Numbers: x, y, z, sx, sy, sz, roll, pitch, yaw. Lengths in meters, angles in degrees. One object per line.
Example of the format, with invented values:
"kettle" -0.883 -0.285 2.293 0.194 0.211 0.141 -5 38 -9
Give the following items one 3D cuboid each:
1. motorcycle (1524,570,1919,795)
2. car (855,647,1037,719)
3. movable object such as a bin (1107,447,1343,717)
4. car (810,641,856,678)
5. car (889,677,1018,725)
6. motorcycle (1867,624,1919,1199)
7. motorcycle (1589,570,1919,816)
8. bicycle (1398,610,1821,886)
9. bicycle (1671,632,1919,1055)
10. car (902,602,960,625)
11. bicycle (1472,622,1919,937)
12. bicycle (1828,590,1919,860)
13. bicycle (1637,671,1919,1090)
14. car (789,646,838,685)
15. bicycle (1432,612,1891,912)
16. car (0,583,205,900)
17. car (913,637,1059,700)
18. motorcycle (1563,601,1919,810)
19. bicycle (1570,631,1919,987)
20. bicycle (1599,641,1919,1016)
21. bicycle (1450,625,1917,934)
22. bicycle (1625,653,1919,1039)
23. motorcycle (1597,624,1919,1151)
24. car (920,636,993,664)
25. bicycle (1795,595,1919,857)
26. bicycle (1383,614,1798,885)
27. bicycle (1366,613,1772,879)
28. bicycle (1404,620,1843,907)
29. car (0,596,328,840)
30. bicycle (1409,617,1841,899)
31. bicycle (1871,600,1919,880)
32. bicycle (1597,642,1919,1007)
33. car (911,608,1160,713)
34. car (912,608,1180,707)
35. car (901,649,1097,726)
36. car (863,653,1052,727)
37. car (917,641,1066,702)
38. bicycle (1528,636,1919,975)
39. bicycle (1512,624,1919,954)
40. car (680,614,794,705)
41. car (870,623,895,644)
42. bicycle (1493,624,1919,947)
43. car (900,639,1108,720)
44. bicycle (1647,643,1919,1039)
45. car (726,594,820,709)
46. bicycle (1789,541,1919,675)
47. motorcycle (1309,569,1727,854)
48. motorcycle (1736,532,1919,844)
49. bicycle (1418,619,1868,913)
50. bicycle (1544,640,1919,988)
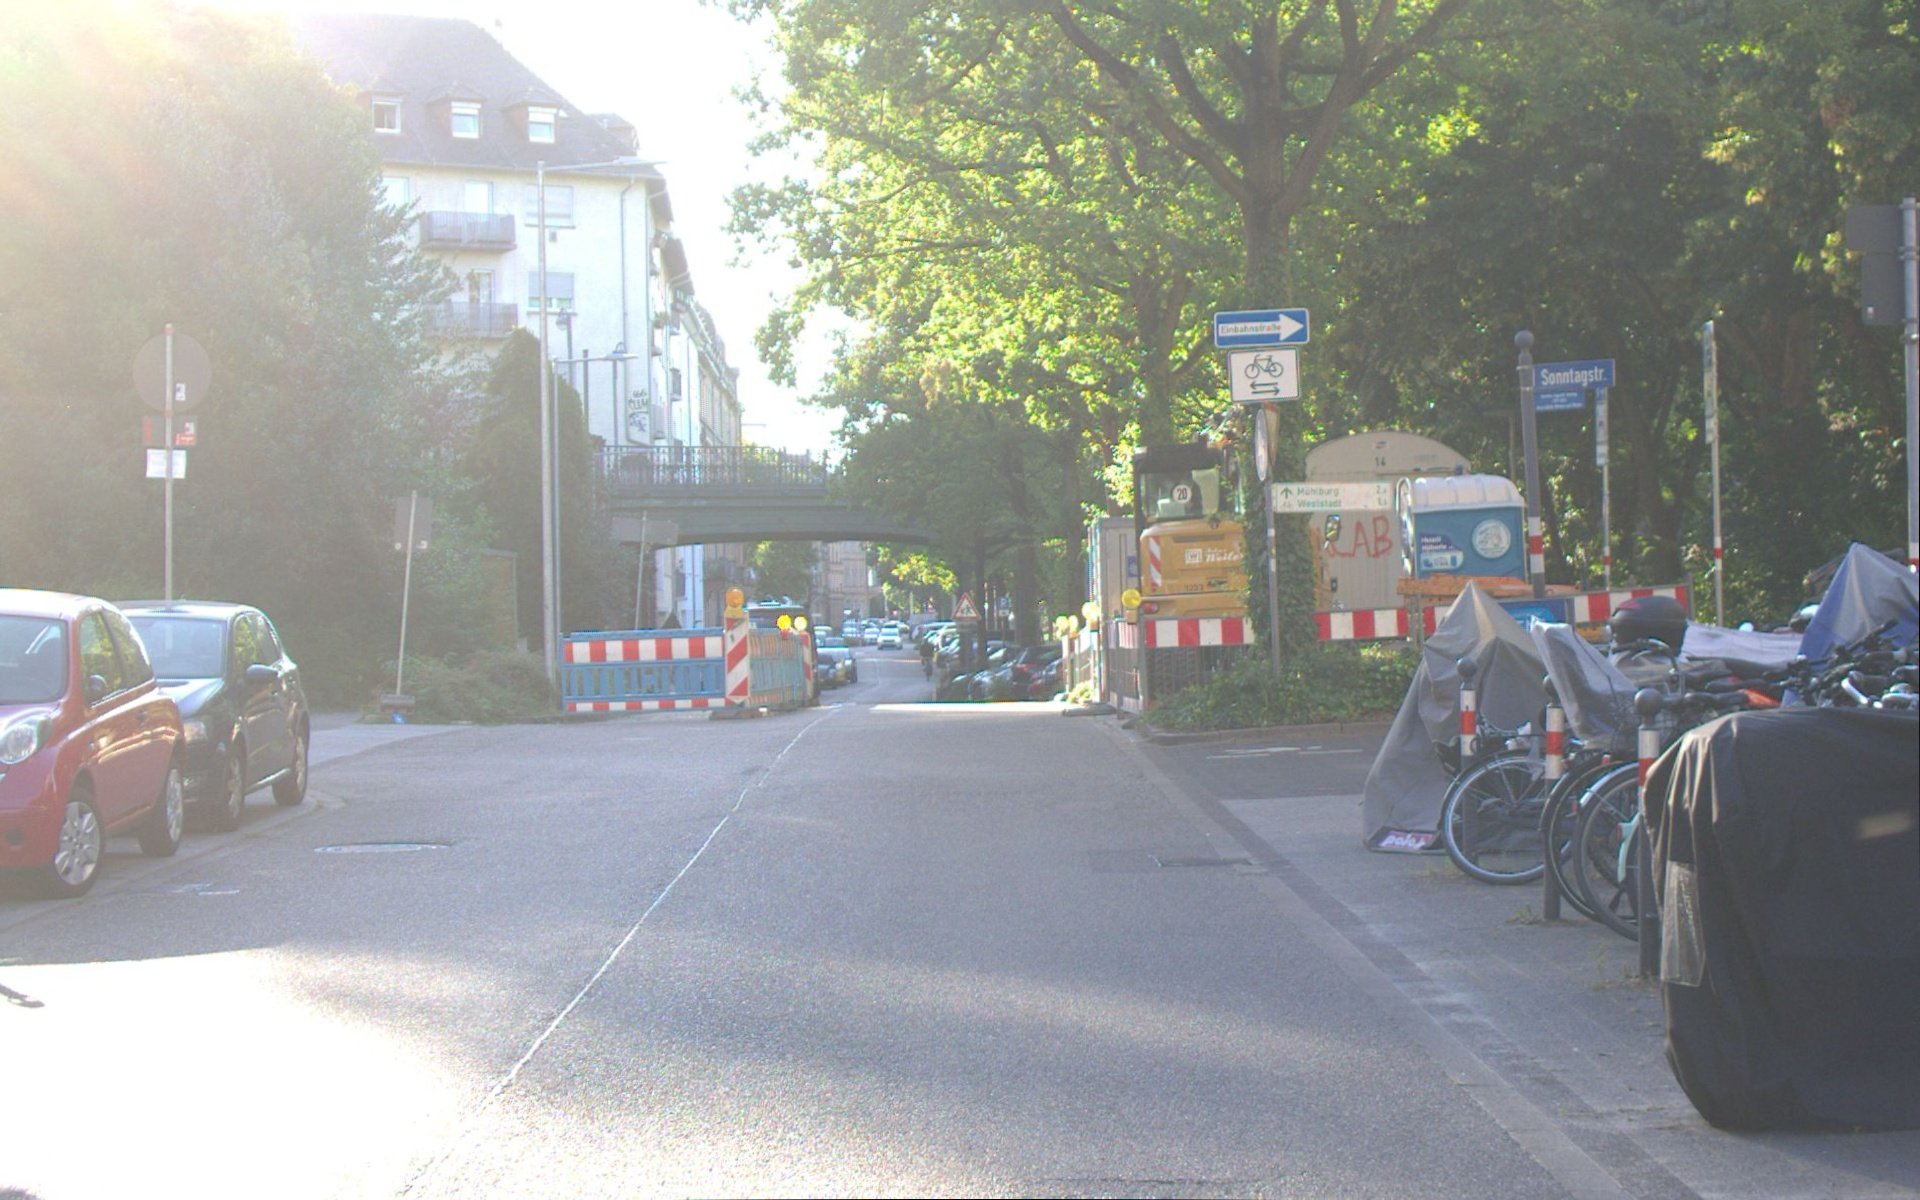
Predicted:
"motorcycle" 4.824 0.498 21.483 2.364 1.337 0.941 -1 0 -10
"car" -0.360 2.047 84.217 4.387 1.696 1.917 0 -3 -3
"movable object such as a bin" 2.828 -0.176 36.138 1.995 2.690 3.108 -1 0 13
"car" -5.358 2.518 145.423 1.812 1.393 3.975 -2 -2 -1
"car" -0.248 3.509 118.898 4.387 1.604 1.781 0 -3 -3
"motorcycle" 3.038 0.700 7.340 2.014 1.323 0.621 -1 1 -4
"motorcycle" 4.692 0.514 19.229 2.284 1.337 0.656 -1 0 12
"bicycle" 3.036 0.683 16.081 1.924 1.242 0.303 -1 0 -6
"bicycle" 3.257 0.723 10.702 1.924 1.242 0.648 -1 0 -6
"car" -2.192 1.016 258.898 4.387 1.604 1.780 0 -3 0
"bicycle" 3.095 0.726 14.159 1.924 1.242 0.303 -1 0 -6
"bicycle" 5.125 0.566 16.236 1.924 1.242 0.479 -1 0 -6
"bicycle" 2.937 0.768 9.936 1.817 1.124 0.443 -3 1 -1
"car" -5.739 2.587 135.047 1.812 1.393 3.975 -2 -2 -1
"bicycle" 3.019 0.688 14.812 1.924 1.242 0.303 -1 0 -6
"car" -5.268 0.680 18.529 1.669 1.525 4.000 -1 0 -3
"car" 0.782 2.125 105.970 4.387 1.855 1.917 0 -3 -3
"motorcycle" 4.716 0.608 20.115 2.284 1.176 0.970 -1 0 13
"bicycle" 3.206 0.742 12.489 1.924 1.242 0.303 -1 0 -6
"bicycle" 3.190 0.766 11.839 1.924 1.242 0.303 -1 0 -6
"bicycle" 3.042 0.745 14.474 1.905 1.242 0.303 -1 0 -6
"bicycle" 3.217 0.803 11.510 1.924 1.242 0.303 -1 0 -6
"motorcycle" 2.850 0.705 9.248 2.023 1.280 0.904 -3 1 -2
"car" -0.213 3.038 206.955 4.387 1.604 1.780 0 -3 0
"bicycle" 5.088 0.592 16.745 1.924 1.242 0.452 -1 0 -6
"bicycle" 3.005 0.703 16.401 1.924 1.242 0.303 -1 0 -6
"bicycle" 2.961 0.701 16.739 1.924 1.242 0.303 -1 0 -6
"bicycle" 2.988 0.728 15.499 1.924 1.242 0.303 -1 0 -6
"car" -5.415 0.718 22.982 1.669 1.453 4.000 -1 0 -1
"bicycle" 3.043 0.713 15.743 1.924 1.242 0.303 -1 0 -6
"bicycle" 5.185 0.614 15.690 1.924 1.242 0.479 -1 0 -6
"bicycle" 3.243 0.775 12.154 1.924 1.242 0.303 -1 0 -6
"car" 1.458 1.210 67.659 4.741 1.990 1.917 0 -3 -4
"car" 1.426 0.999 58.397 4.386 1.601 1.917 0 -3 -4
"car" 0.866 2.008 78.729 4.387 1.696 1.917 0 -3 -3
"car" -0.091 2.149 81.436 4.387 1.696 1.917 0 -3 -3
"car" 0.931 2.166 103.814 4.387 1.779 1.917 0 -3 -3
"bicycle" 3.161 0.771 13.161 1.924 1.242 0.303 -1 0 -6
"bicycle" 3.154 0.730 13.491 1.924 1.242 0.303 -1 0 -6
"car" -3.764 1.038 58.568 1.715 1.413 4.106 -2 -2 -1
"car" -5.804 2.516 256.635 1.812 1.393 3.975 -2 -2 -1
"bicycle" 3.134 0.734 13.829 1.924 1.242 0.303 -1 0 -6
"car" 0.925 1.727 74.487 4.387 1.696 1.917 0 -3 -3
"bicycle" 3.229 0.763 11.202 1.924 1.242 0.303 -1 0 -6
"car" -4.247 1.227 78.488 2.047 2.489 5.697 0 -2 -3
"bicycle" 9.348 0.063 34.709 1.023 1.281 2.147 -2 1 -13
"motorcycle" 2.903 0.558 17.898 1.935 1.408 0.939 -1 0 28
"motorcycle" 5.165 0.419 17.366 2.282 1.526 0.756 -1 0 -6
"bicycle" 3.007 0.720 15.151 1.924 1.242 0.303 -1 0 -6
"bicycle" 3.165 0.781 12.813 1.924 1.242 0.303 -1 0 -6
